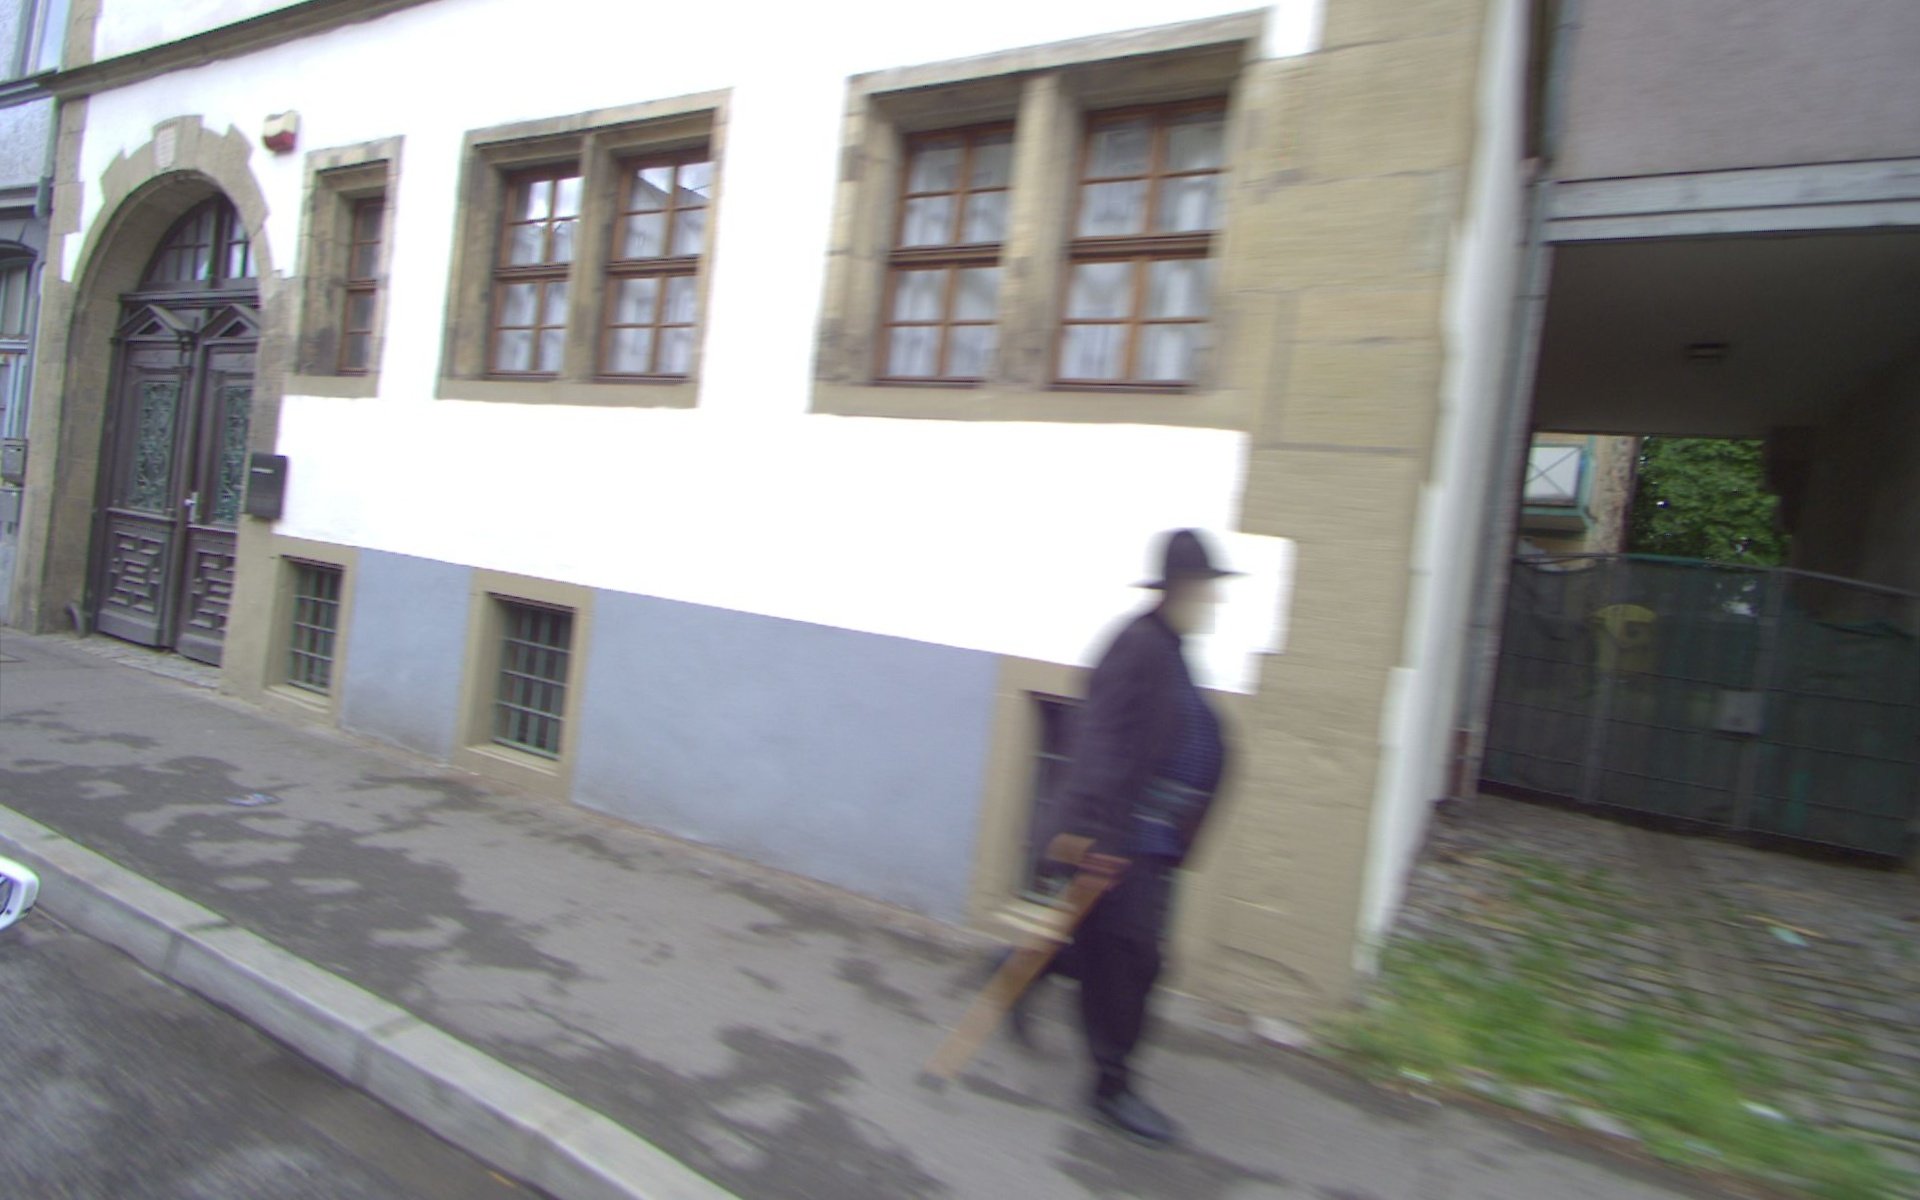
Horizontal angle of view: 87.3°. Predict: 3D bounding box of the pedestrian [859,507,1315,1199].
[{"bbox_3d":[0.397,0.636,2.969,0.928,1.678,0.832,7,3,29],"label":"pedestrian"}]
